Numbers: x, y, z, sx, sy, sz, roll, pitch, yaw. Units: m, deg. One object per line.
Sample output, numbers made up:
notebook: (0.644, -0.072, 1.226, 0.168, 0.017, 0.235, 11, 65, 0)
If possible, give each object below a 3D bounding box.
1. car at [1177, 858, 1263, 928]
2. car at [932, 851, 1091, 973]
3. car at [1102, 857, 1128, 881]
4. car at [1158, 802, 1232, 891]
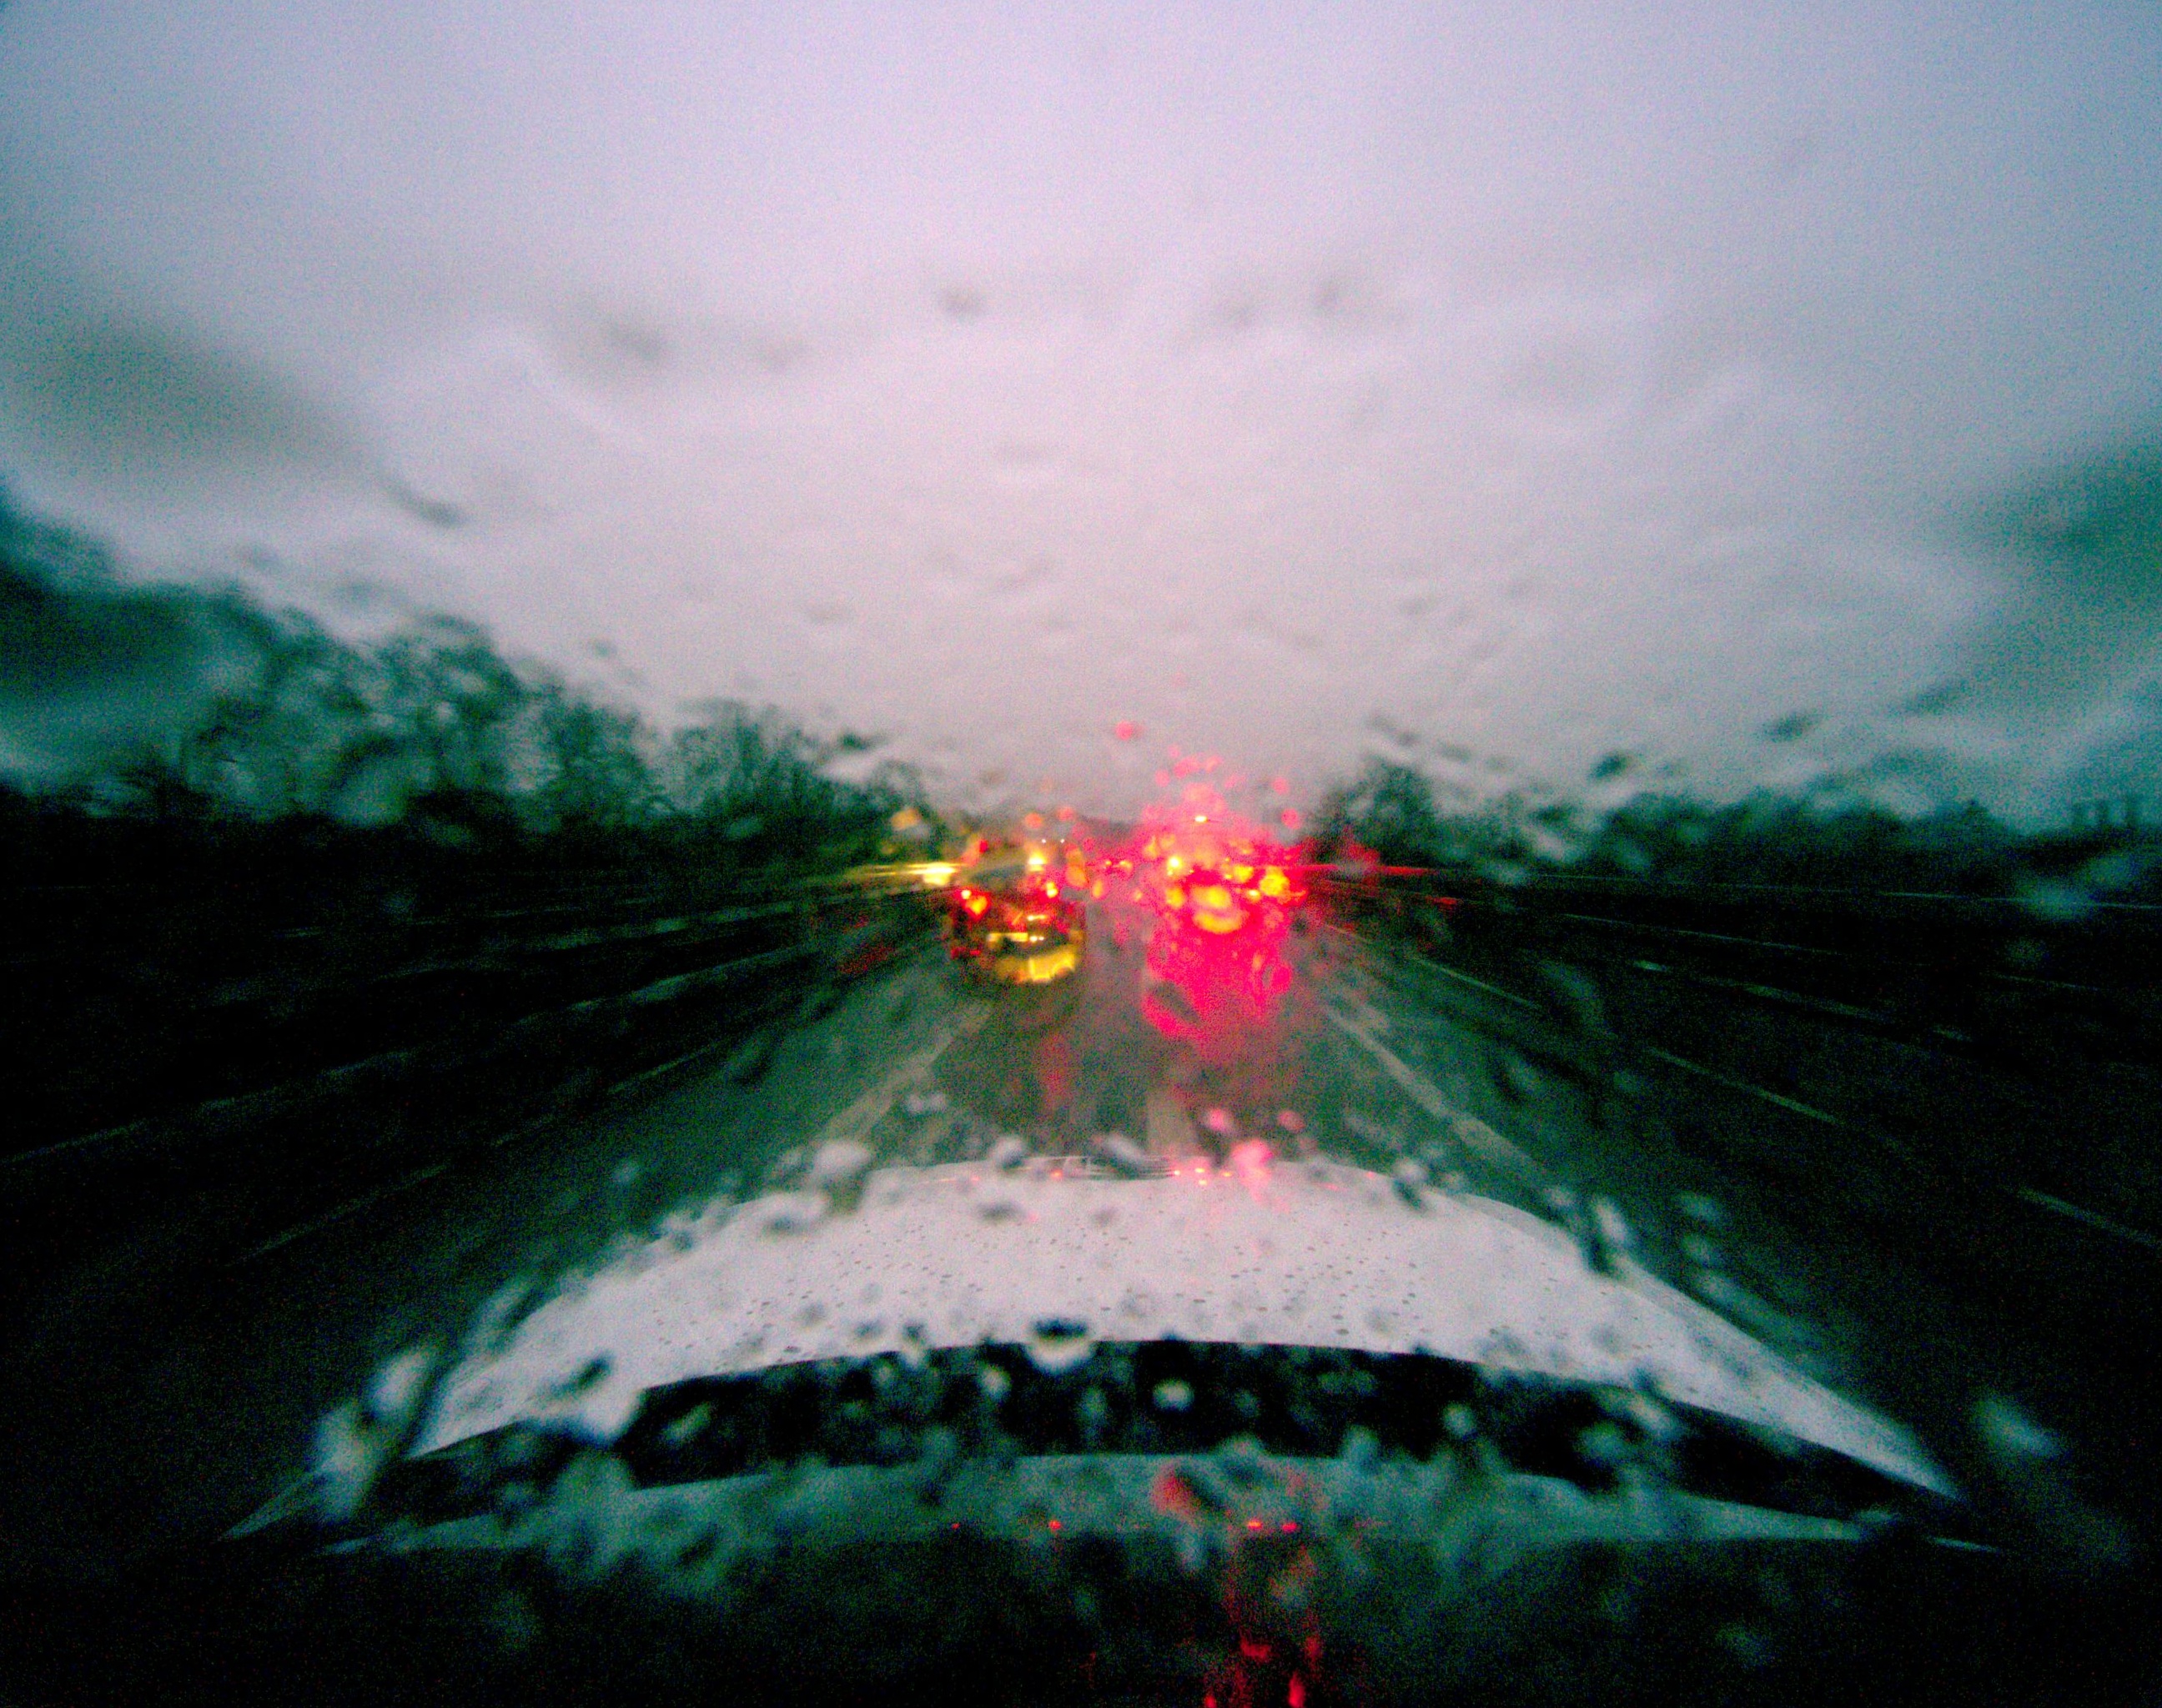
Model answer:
car: (3.245, 0.844, 19.709, 1.728, 1.414, 4.384, 1, 0, 5)
car: (-0.870, 0.787, 12.460, 1.722, 1.533, 4.047, -1, -1, 5)
car: (2.748, 1.170, 66.084, 1.986, 1.814, 4.003, 2, 1, 2)
car: (4.164, -0.206, 30.706, 2.271, 2.966, 6.397, -1, -1, 4)
